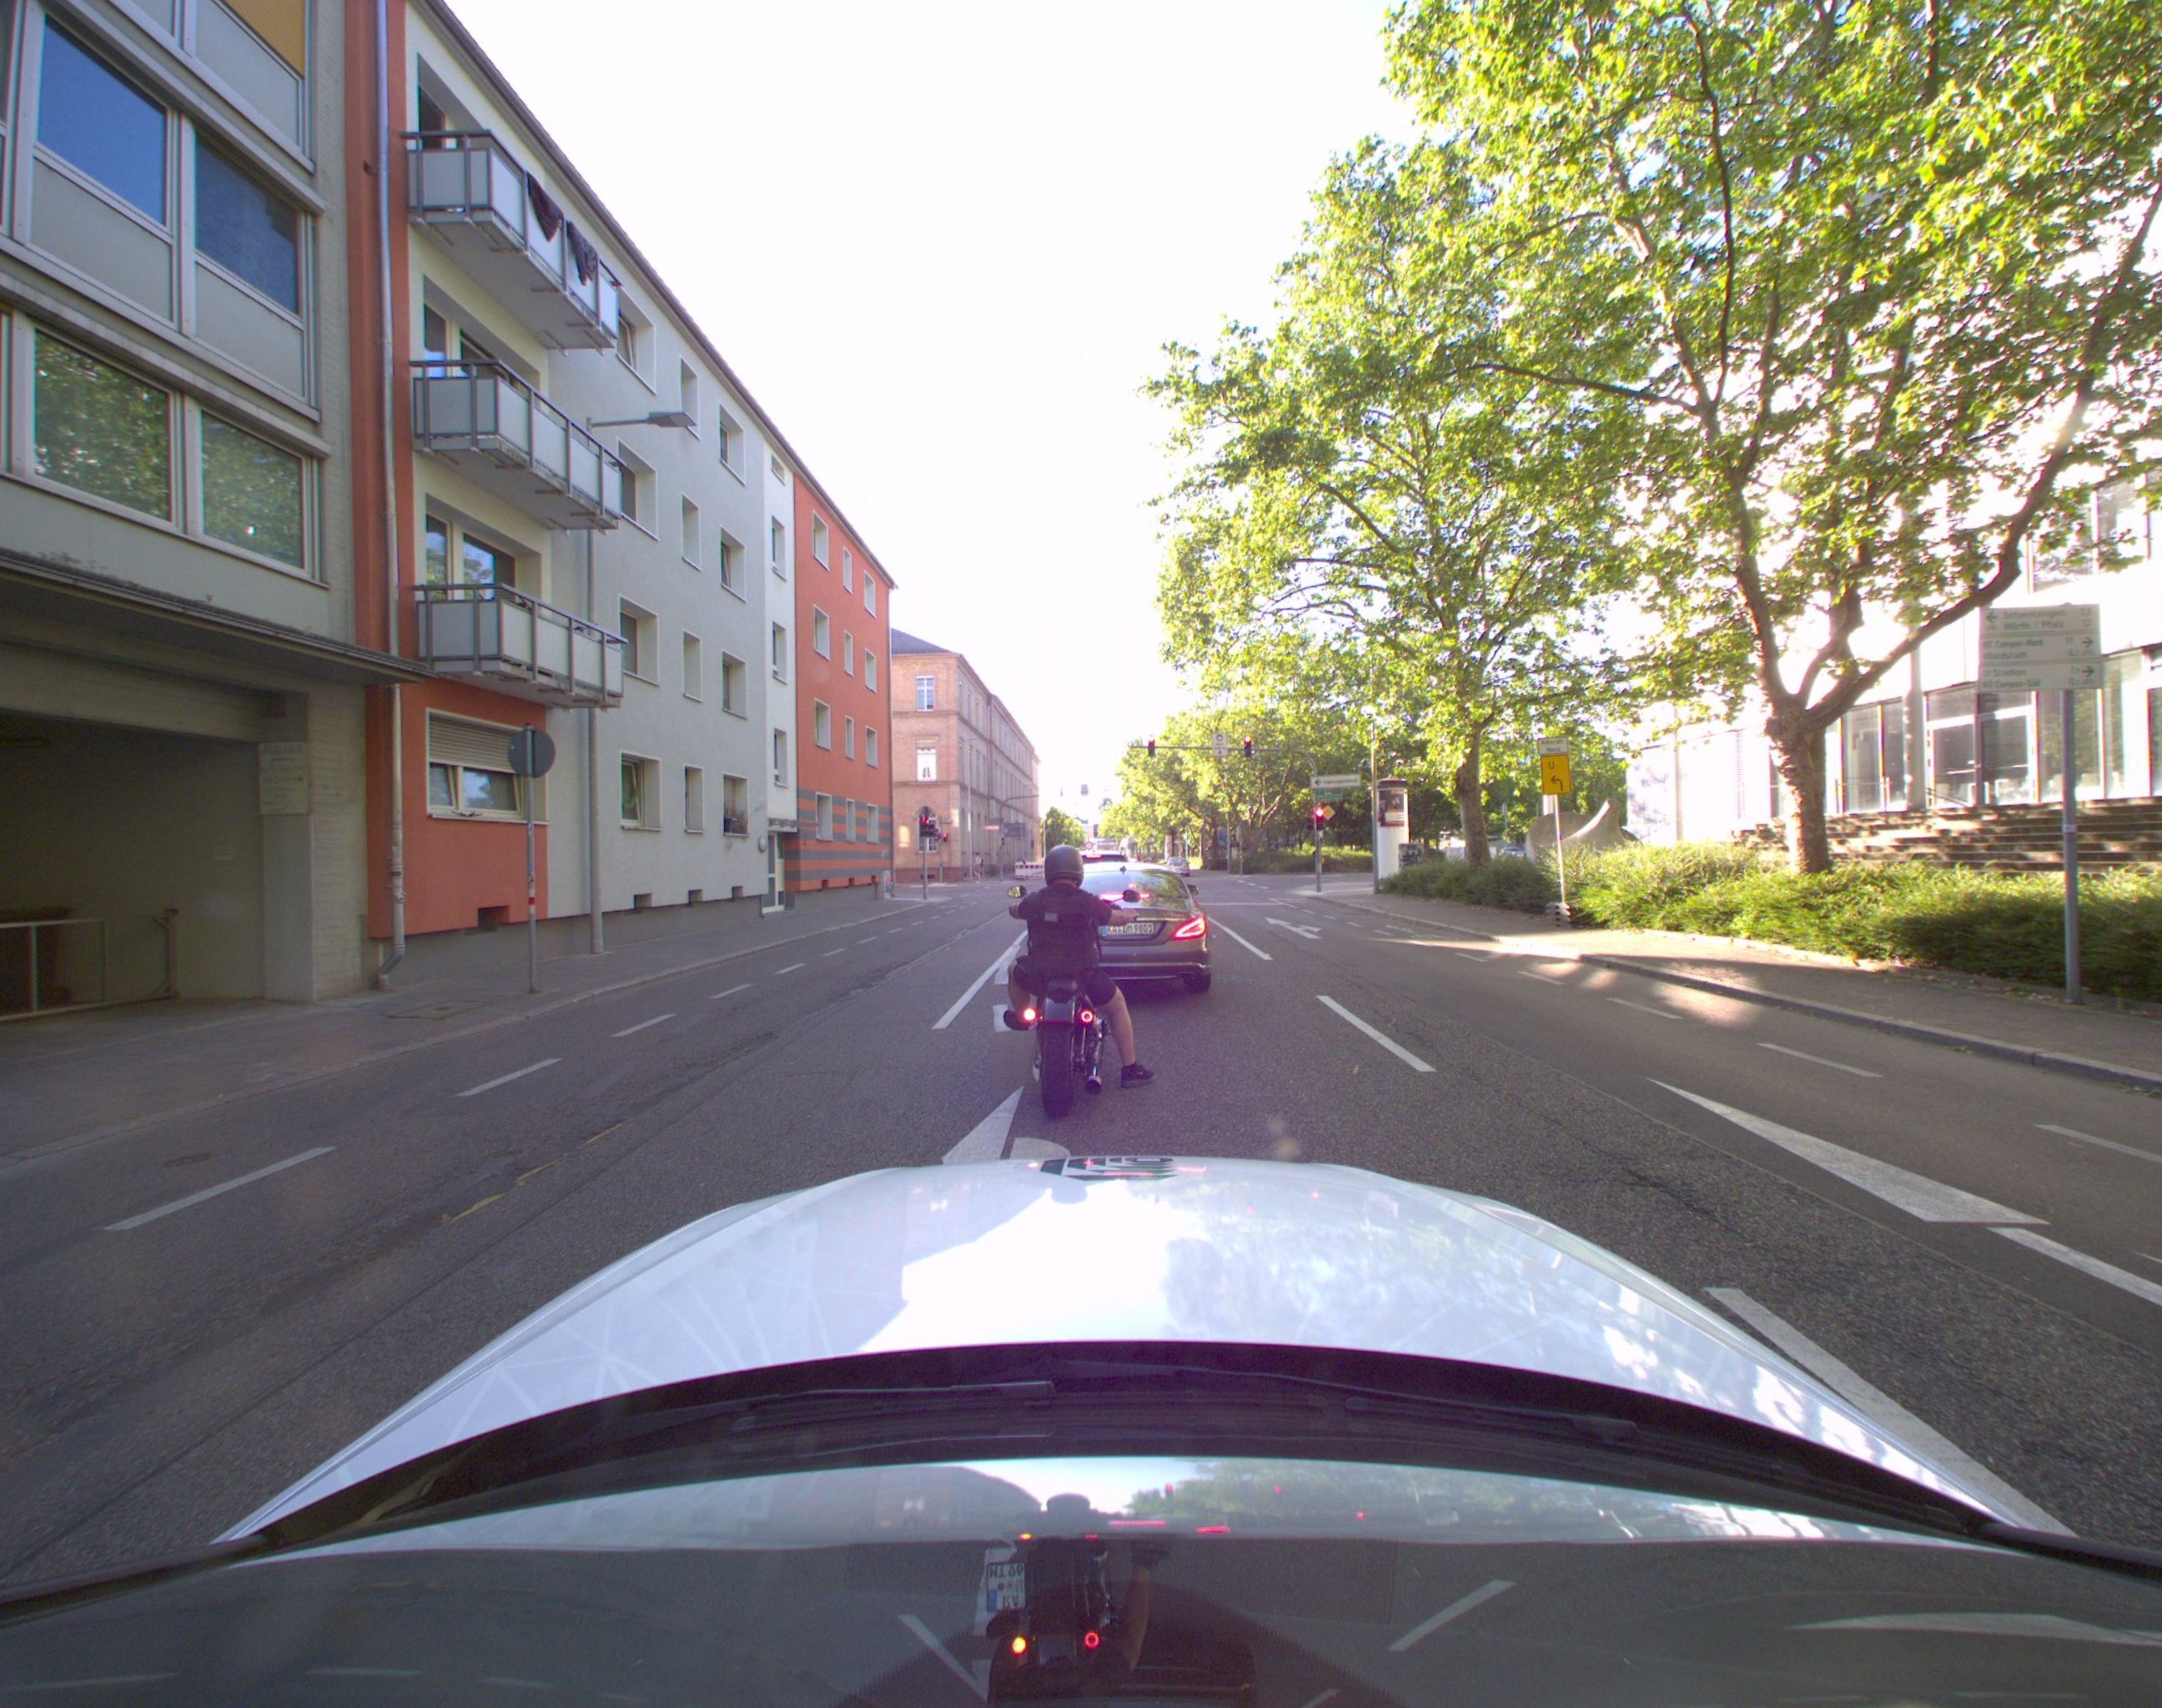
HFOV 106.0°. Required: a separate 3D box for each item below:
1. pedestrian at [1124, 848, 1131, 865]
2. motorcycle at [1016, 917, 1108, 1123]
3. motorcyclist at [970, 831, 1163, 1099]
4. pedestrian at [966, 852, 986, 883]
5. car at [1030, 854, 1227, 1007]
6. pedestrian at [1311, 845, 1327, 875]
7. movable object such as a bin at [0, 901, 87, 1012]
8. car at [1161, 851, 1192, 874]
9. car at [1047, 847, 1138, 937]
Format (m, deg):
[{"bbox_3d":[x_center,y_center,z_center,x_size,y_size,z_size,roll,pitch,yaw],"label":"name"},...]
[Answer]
[{"bbox_3d":[5.770,0.285,101.000,0.761,2.051,0.712,0,-1,1],"label":"pedestrian"},{"bbox_3d":[-0.074,1.005,5.547,0.511,1.002,2.014,0,-1,2],"label":"motorcycle"},{"bbox_3d":[-0.069,0.672,5.535,1.145,1.598,1.288,0,-1,1],"label":"motorcyclist"},{"bbox_3d":[-6.322,0.798,48.914,1.004,1.826,1.070,0,-1,-16],"label":"pedestrian"},{"bbox_3d":[0.517,0.740,9.729,1.875,1.449,3.821,0,0,2],"label":"car"},{"bbox_3d":[14.890,0.381,50.958,0.916,1.910,0.755,-1,-1,14],"label":"pedestrian"},{"bbox_3d":[-11.257,1.064,8.633,0.626,1.100,0.659,0,-1,4],"label":"movable object such as a bin"},{"bbox_3d":[6.890,0.590,58.844,1.845,1.575,4.136,0,-1,1],"label":"car"},{"bbox_3d":[0.275,0.693,16.857,1.615,1.594,4.002,-1,0,2],"label":"car"}]
